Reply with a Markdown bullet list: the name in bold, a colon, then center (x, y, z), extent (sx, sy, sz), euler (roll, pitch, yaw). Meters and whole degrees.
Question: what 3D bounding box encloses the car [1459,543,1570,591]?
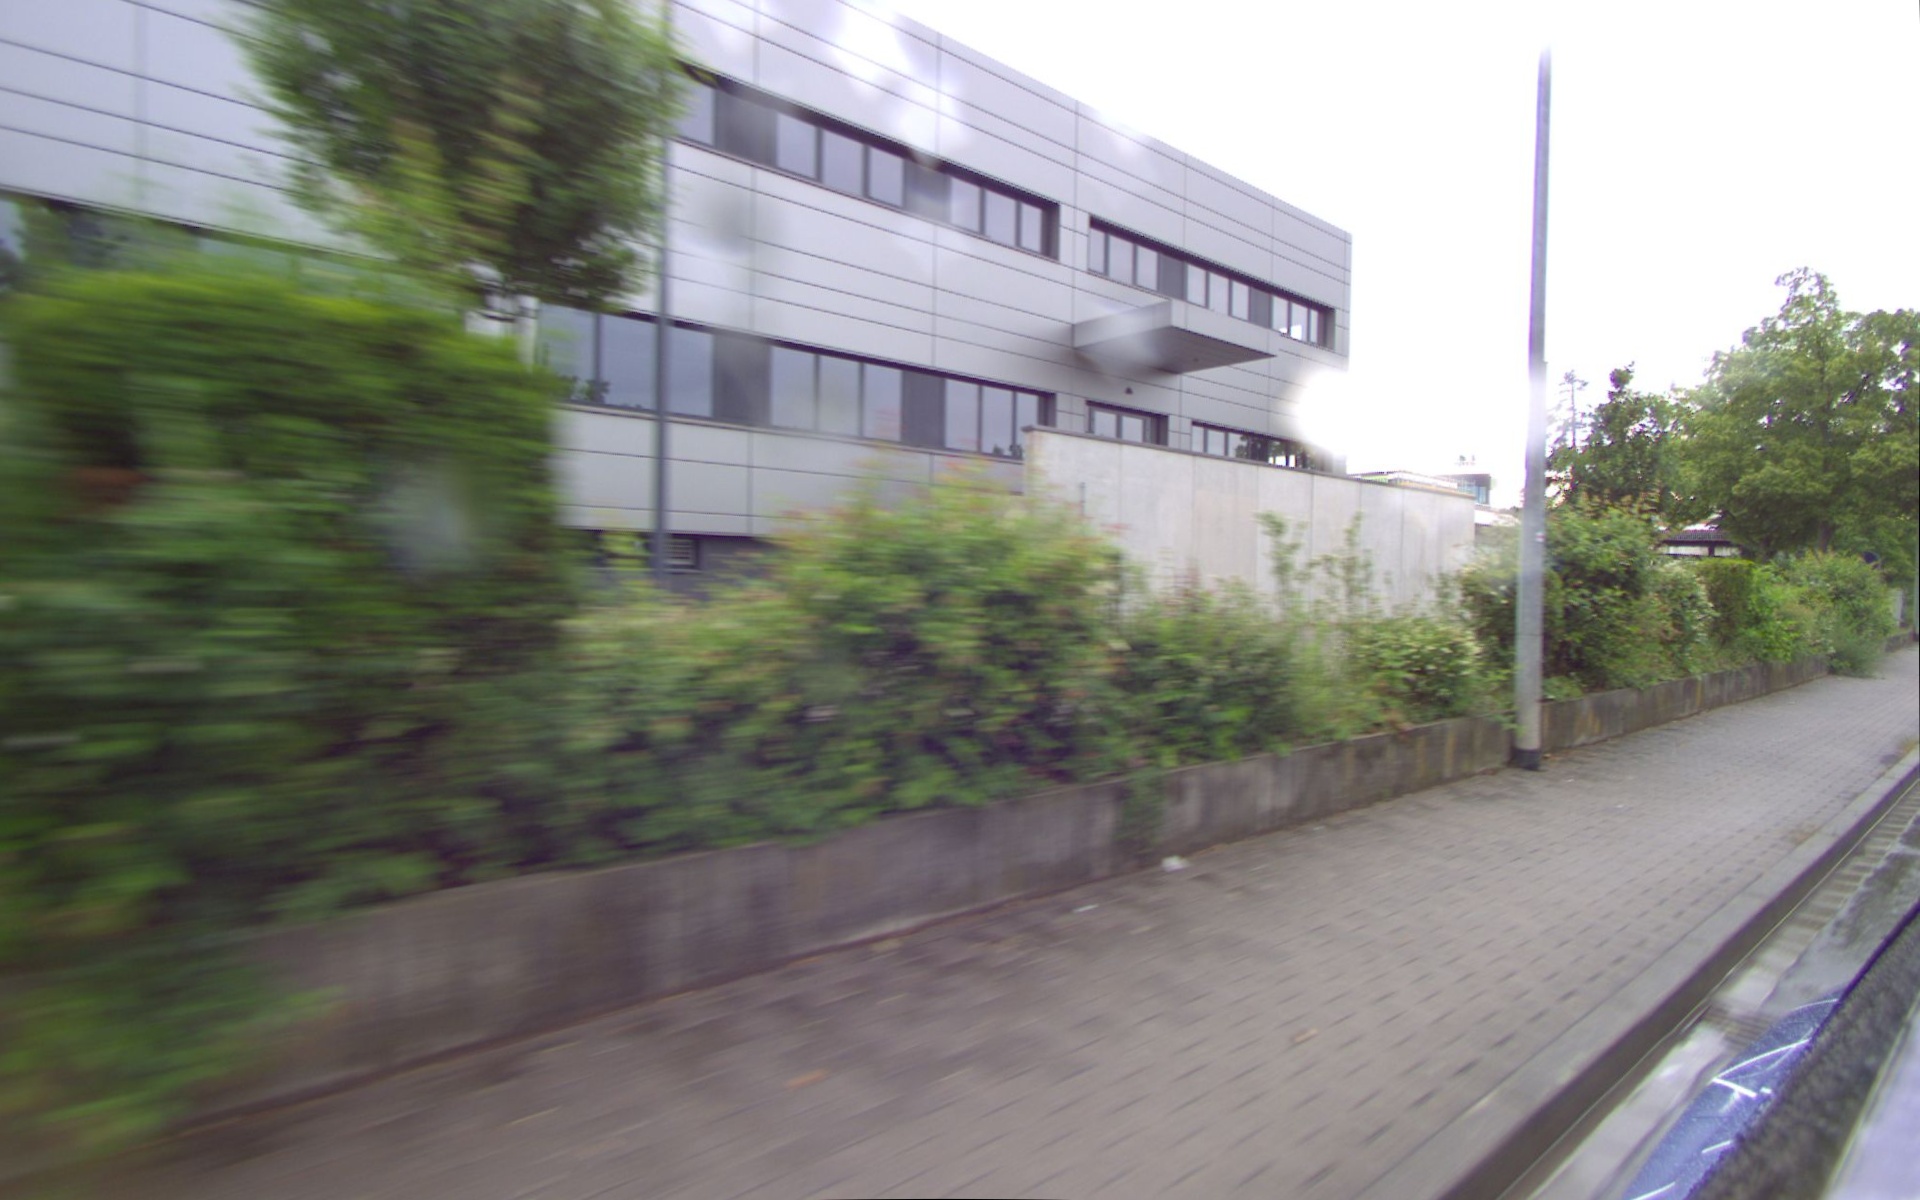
- **car**: center (30.288, -1.821, 55.448), extent (1.962, 2.468, 4.920), euler (1, 1, -35)
